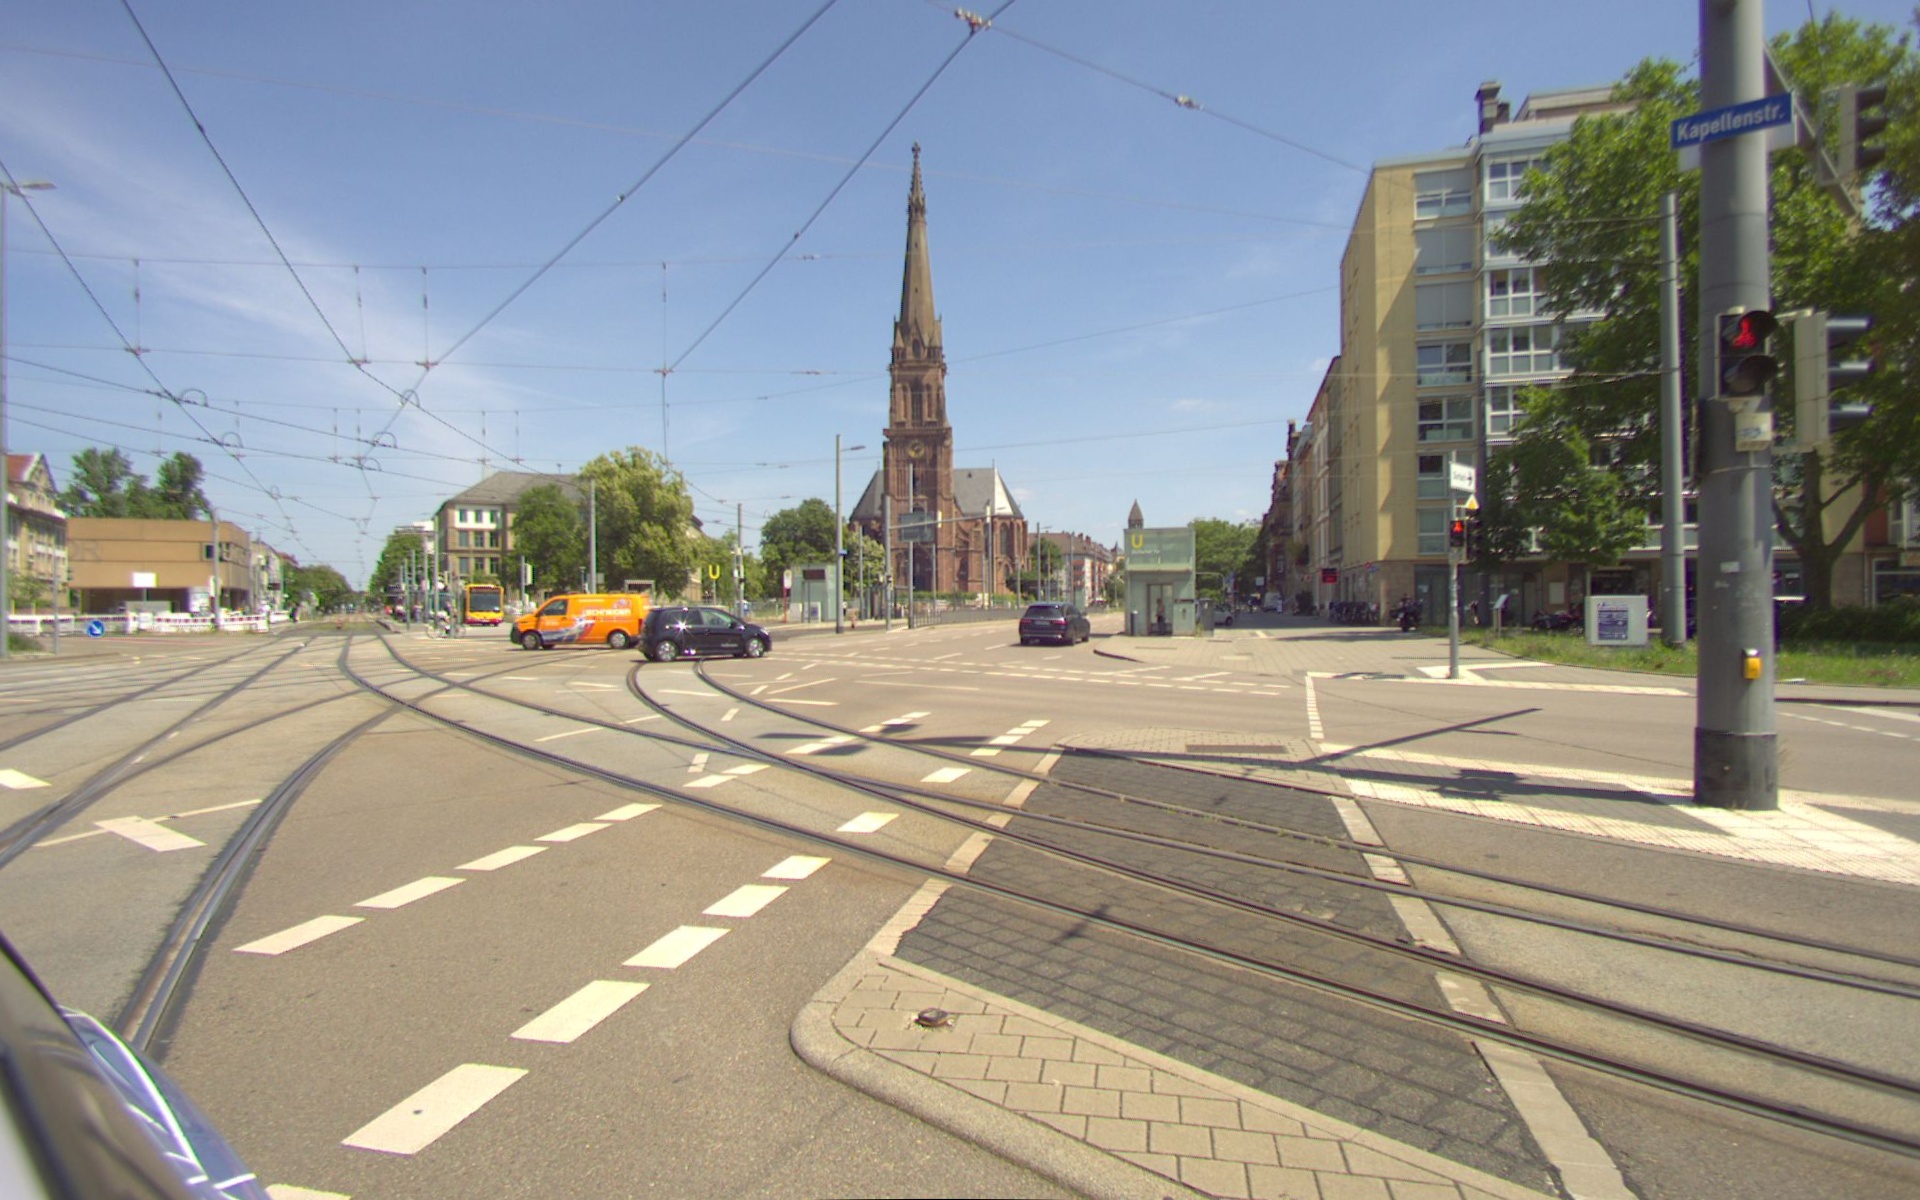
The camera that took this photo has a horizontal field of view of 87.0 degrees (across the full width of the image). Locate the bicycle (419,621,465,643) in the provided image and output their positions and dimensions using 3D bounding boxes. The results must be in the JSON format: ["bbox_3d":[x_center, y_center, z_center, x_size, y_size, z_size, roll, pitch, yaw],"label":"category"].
[{"bbox_3d":[-24.849,1.524,48.544,0.529,0.986,1.880,-1,-1,43],"label":"bicycle"}]

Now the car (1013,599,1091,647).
[{"bbox_3d":[3.224,0.766,34.809,1.766,1.541,3.974,-1,0,20],"label":"car"}]

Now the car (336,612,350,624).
[{"bbox_3d":[-82.423,2.406,135.204,1.417,1.608,4.011,0,0,-33],"label":"car"}]

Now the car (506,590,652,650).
[{"bbox_3d":[-13.406,0.686,35.884,4.522,2.029,2.004,-1,0,-8],"label":"car"}]

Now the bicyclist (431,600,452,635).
[{"bbox_3d":[-24.904,0.835,48.606,0.529,1.701,0.801,-1,-1,43],"label":"bicyclist"}]

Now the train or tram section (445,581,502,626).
[{"bbox_3d":[-37.360,0.303,77.516,2.796,3.238,9.134,0,0,-33],"label":"train or tram section"}]

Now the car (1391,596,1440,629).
[{"bbox_3d":[17.490,0.470,38.829,1.956,1.163,0.504,-3,1,-25],"label":"car"}]

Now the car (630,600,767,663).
[{"bbox_3d":[-7.060,0.809,27.363,3.328,1.586,1.339,-1,0,-29],"label":"car"}]
